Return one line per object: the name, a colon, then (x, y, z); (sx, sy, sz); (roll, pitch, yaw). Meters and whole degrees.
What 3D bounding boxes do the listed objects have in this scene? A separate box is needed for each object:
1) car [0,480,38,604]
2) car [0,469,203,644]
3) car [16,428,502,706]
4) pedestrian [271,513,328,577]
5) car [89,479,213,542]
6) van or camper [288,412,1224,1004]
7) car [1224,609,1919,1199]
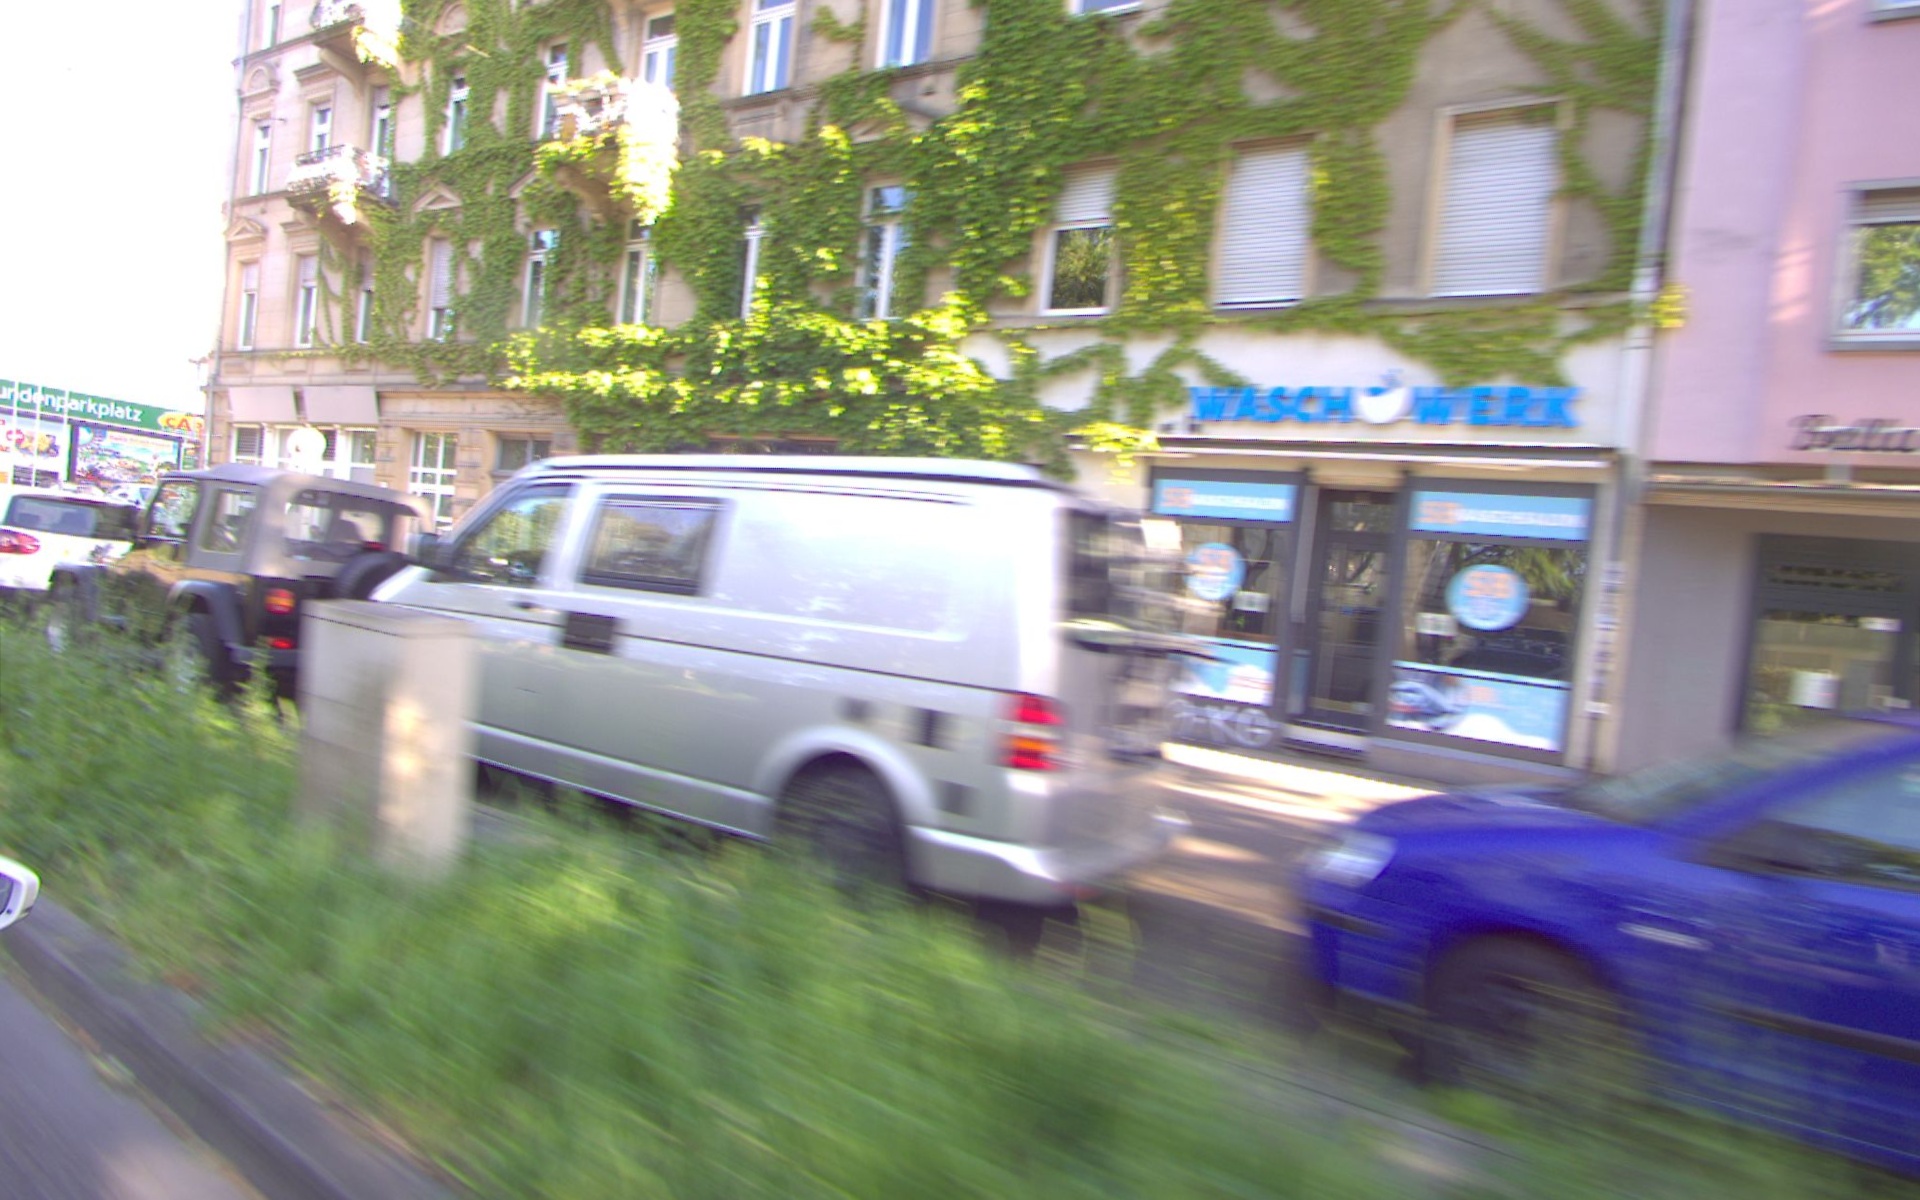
car: (-13.985, -0.994, 13.105); (3.931, 1.535, 1.644); (7, -1, 29)
car: (-10.292, -0.582, 10.942); (3.931, 1.535, 1.743); (7, -1, 29)
car: (-5.975, -0.345, 8.486); (3.933, 1.787, 1.865); (7, 2, 32)
pedestrian: (-14.493, -1.211, 22.078); (0.701, 1.277, 0.716); (7, 1, 31)
car: (-27.431, -3.047, 34.097); (3.930, 1.666, 1.747); (7, 1, 27)
van or camper: (-1.369, 0.202, 5.631); (5.008, 2.040, 1.885); (7, 2, 30)
car: (2.985, 1.018, 3.148); (3.763, 1.498, 1.592); (7, 1, 30)
